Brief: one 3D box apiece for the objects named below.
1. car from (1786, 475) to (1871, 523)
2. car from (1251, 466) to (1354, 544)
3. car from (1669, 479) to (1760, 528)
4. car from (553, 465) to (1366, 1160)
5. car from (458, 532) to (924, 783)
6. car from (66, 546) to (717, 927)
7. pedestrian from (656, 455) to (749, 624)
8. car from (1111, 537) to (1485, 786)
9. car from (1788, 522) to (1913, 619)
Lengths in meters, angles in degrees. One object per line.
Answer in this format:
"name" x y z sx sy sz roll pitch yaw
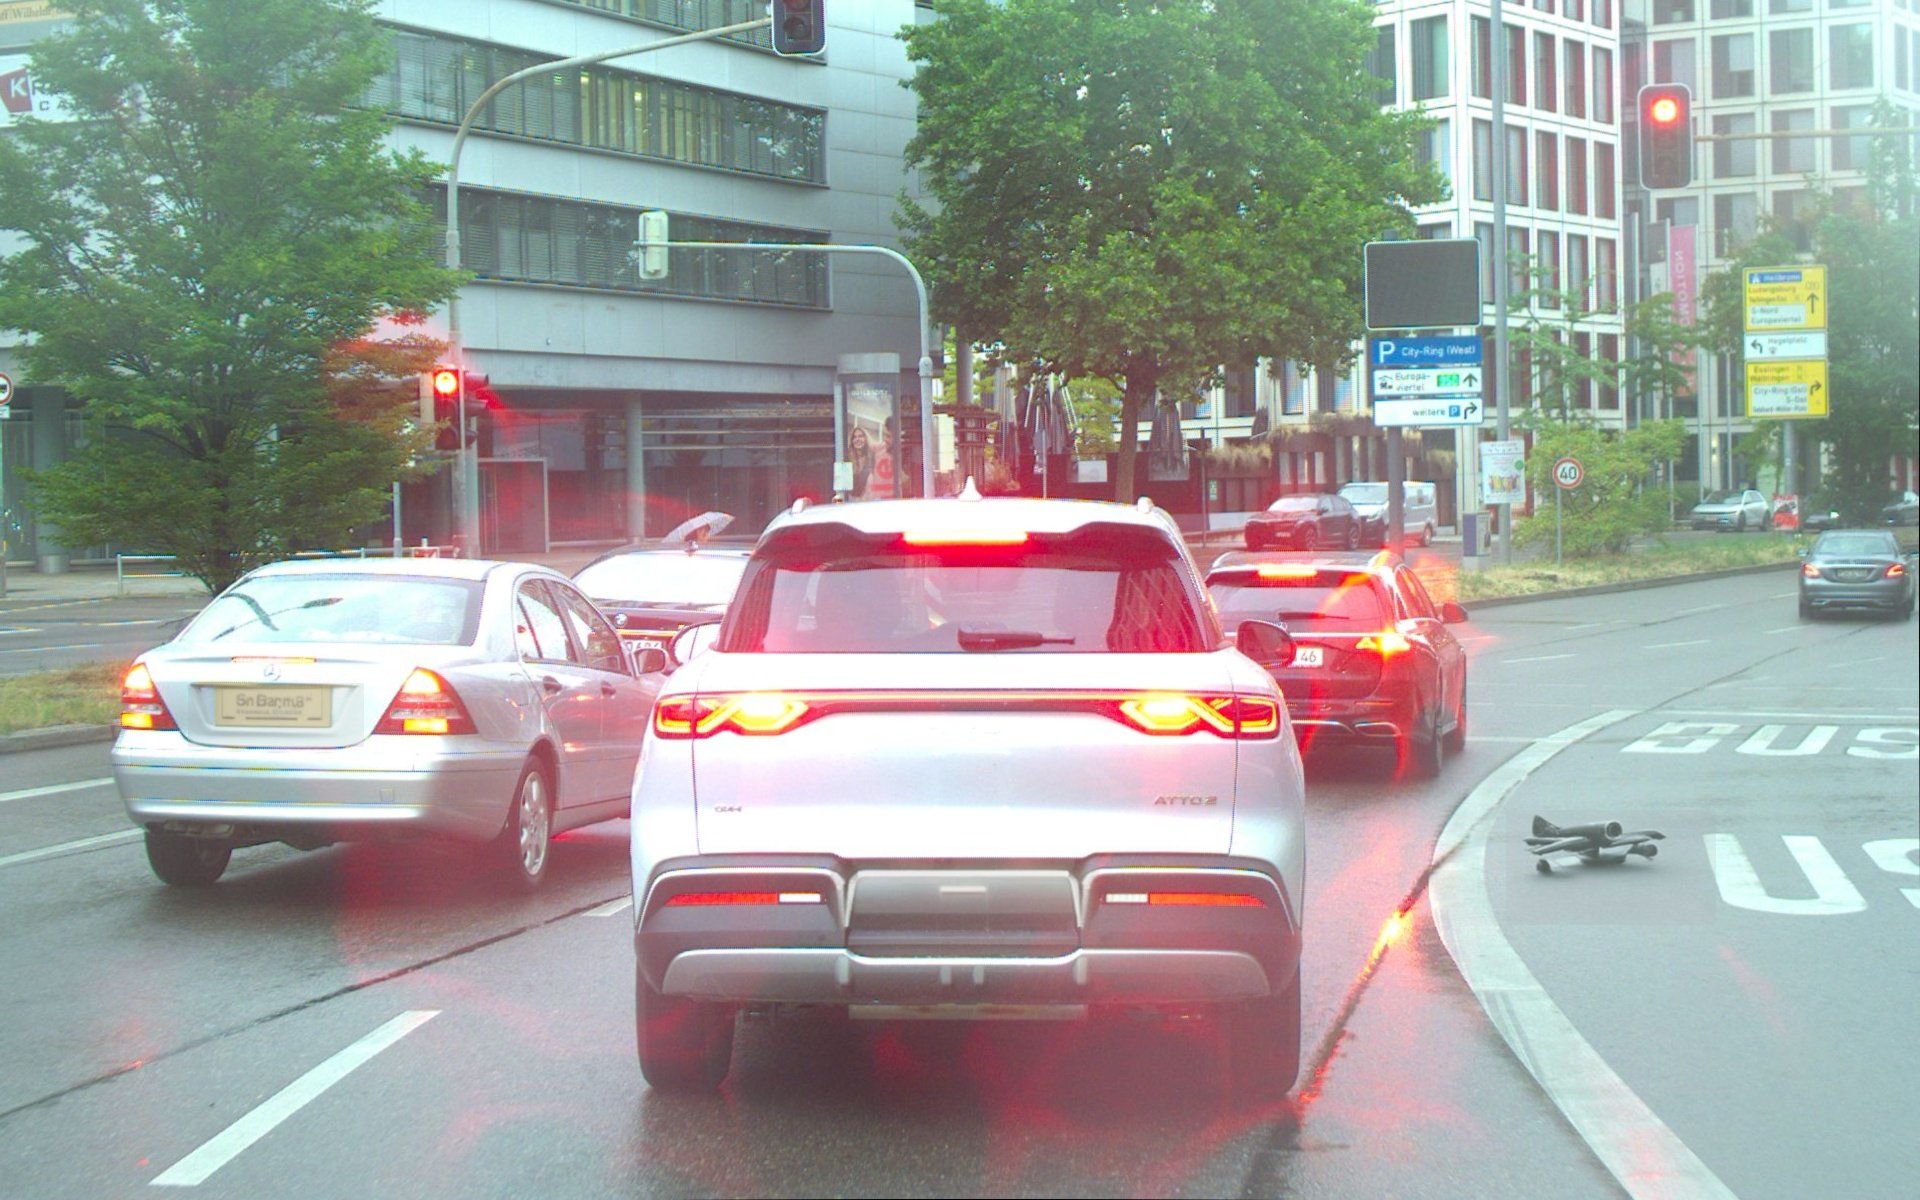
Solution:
"car" 32.604 -3.807 129.020 1.997 1.700 3.993 1 3 31
"car" 9.751 -2.672 97.632 1.739 2.154 4.489 1 1 21
"car" 27.589 -3.539 125.676 1.997 1.700 4.302 1 3 30
"car" -0.012 0.473 10.698 1.993 1.703 4.483 0 1 0
"car" -1.702 0.307 23.181 1.956 1.525 3.998 0 1 14
"car" -2.436 0.507 15.838 1.683 1.481 4.195 0 1 10
"pedestrian" -2.654 -0.627 35.532 0.922 1.732 0.730 0 1 -2
"car" 2.395 0.342 23.425 1.956 1.525 3.998 0 1 14
"car" 14.884 -0.527 57.385 1.911 1.505 4.353 1 2 15
